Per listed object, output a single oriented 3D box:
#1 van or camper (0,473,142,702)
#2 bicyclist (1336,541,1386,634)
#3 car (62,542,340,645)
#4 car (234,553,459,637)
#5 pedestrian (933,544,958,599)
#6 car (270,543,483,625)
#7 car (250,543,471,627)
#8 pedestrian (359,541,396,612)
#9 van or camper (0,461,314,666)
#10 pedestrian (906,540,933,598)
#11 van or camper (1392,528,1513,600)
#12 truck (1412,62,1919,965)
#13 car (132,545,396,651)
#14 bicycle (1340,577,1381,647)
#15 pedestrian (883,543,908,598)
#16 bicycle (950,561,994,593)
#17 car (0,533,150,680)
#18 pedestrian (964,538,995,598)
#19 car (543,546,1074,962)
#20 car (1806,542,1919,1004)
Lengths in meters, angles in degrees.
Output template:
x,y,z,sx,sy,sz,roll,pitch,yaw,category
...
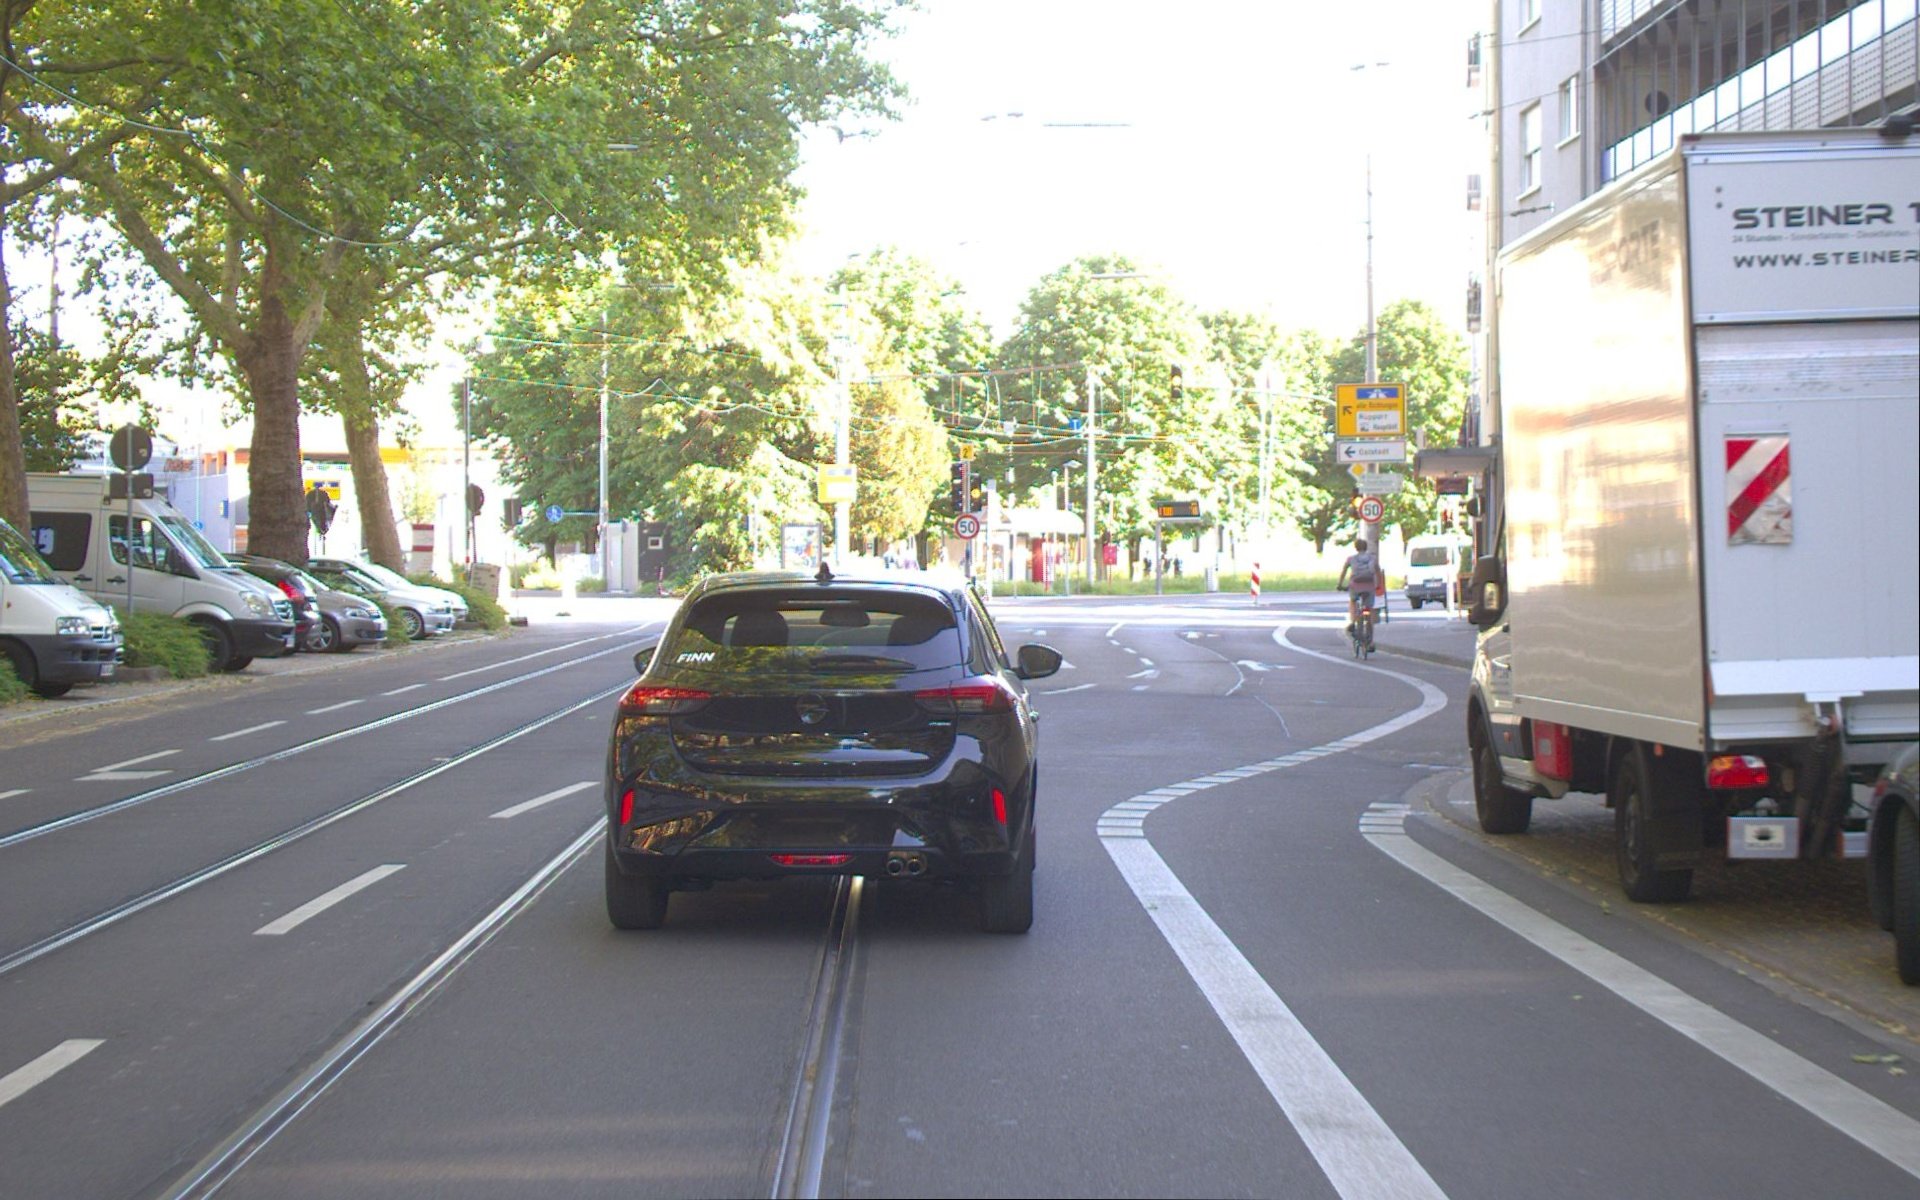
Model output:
x,y,z,sx,sy,sz,roll,pitch,yaw,category
-11.914,-0.191,37.206,5.502,2.371,2.269,1,1,3,van or camper
6.245,-0.198,53.529,0.706,1.431,0.702,0,1,12,bicyclist
-11.964,-0.111,54.324,3.987,1.510,1.650,1,1,1,car
-11.750,-0.100,66.017,3.987,1.510,1.650,1,1,1,car
-0.499,-0.957,115.067,0.617,1.847,0.583,1,0,24,pedestrian
-12.087,-0.336,71.444,4.167,1.665,1.965,0,1,-3,car
-11.990,-0.310,68.930,4.167,1.665,1.965,0,1,-3,car
-18.313,-0.742,108.040,0.819,2.213,0.899,1,1,-35,pedestrian
-11.825,-0.515,46.449,5.723,2.635,2.269,1,1,0,van or camper
-1.357,-1.024,115.231,0.658,1.926,0.608,1,1,31,pedestrian
15.144,-1.097,105.528,2.172,2.138,4.498,1,1,30,van or camper
4.013,-0.405,16.403,2.538,3.326,7.195,-2,1,-1,truck
-11.470,-0.045,56.829,3.987,1.645,1.650,1,1,1,car
6.234,0.177,53.500,0.508,1.063,1.563,0,1,11,bicycle
-2.151,-0.989,114.913,0.617,1.847,0.583,1,0,24,pedestrian
0.376,-0.711,106.564,0.789,0.988,2.241,1,1,16,bicycle
-11.740,0.061,40.117,4.167,1.665,1.965,0,1,-3,car
0.456,-0.734,78.832,0.653,1.359,0.645,0,1,6,pedestrian
-0.499,0.532,14.675,1.781,1.491,4.000,1,1,4,car
4.177,0.564,10.595,1.730,1.552,4.152,-3,1,-5,car
